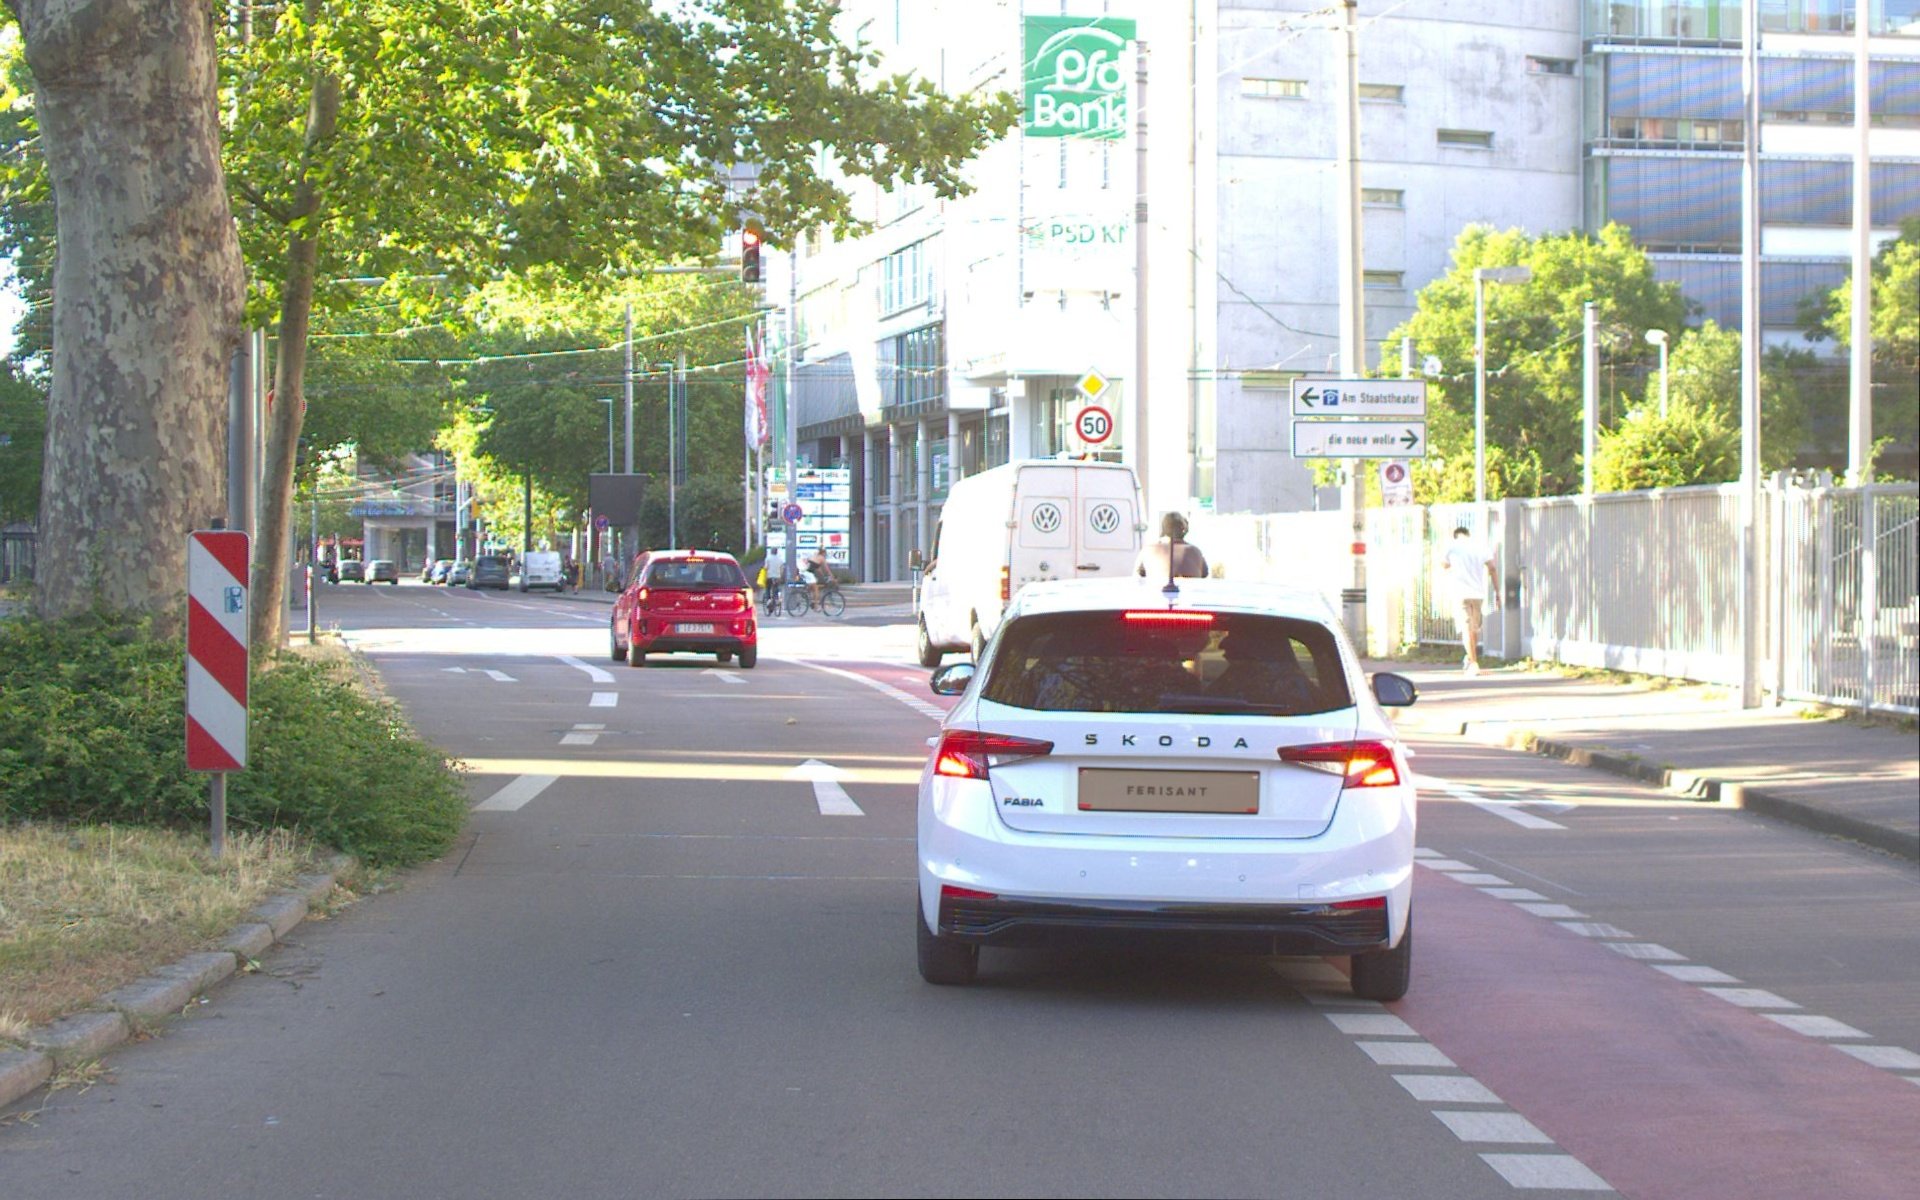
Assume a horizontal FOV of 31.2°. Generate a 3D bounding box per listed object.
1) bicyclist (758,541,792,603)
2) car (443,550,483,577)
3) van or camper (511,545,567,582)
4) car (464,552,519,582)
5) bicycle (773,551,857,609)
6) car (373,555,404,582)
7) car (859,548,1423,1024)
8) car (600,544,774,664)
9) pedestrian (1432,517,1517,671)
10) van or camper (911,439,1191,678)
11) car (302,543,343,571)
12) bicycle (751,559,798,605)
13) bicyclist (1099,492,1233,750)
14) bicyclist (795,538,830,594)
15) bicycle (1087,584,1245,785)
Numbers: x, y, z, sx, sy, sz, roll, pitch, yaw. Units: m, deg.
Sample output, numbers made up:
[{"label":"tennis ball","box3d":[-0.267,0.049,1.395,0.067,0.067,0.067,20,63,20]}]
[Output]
[{"label":"bicyclist","box3d":[-4.844,-0.732,89.851,0.785,1.629,0.639,0,1,-13]},{"label":"car","box3d":[-29.326,-2.166,202.840,1.884,1.523,4.433,-1,1,-14]},{"label":"van or camper","box3d":[-20.725,-1.823,169.030,2.144,1.744,4.433,-1,1,-14]},{"label":"car","box3d":[-25.005,-1.750,183.302,2.477,1.523,4.433,-1,1,-13]},{"label":"bicycle","box3d":[-3.553,-0.500,84.313,1.988,1.374,0.647,-1,1,-35]},{"label":"car","box3d":[-34.507,-1.910,207.559,1.657,1.601,3.532,-1,1,-12]},{"label":"car","box3d":[0.830,0.572,13.076,1.802,1.496,3.980,1,1,7]},{"label":"car","box3d":[-3.599,0.016,44.743,1.839,1.484,3.717,0,1,-11]},{"label":"pedestrian","box3d":[5.909,-0.072,39.509,0.786,1.742,0.772,-1,1,-6]},{"label":"van or camper","box3d":[1.036,-0.539,43.602,2.268,2.724,6.348,2,1,-10]},{"label":"car","box3d":[-38.277,-2.590,206.362,2.056,1.648,3.493,-1,1,-16]},{"label":"bicycle","box3d":[-4.852,-0.481,89.894,0.792,1.157,2.500,0,1,-13]},{"label":"bicyclist","box3d":[1.360,0.128,22.798,0.743,1.663,0.745,2,1,-4]},{"label":"bicyclist","box3d":[-3.612,-0.836,84.288,0.605,1.384,0.636,-1,1,-34]},{"label":"bicycle","box3d":[1.341,0.530,22.830,0.743,1.220,2.156,2,1,-4]}]
